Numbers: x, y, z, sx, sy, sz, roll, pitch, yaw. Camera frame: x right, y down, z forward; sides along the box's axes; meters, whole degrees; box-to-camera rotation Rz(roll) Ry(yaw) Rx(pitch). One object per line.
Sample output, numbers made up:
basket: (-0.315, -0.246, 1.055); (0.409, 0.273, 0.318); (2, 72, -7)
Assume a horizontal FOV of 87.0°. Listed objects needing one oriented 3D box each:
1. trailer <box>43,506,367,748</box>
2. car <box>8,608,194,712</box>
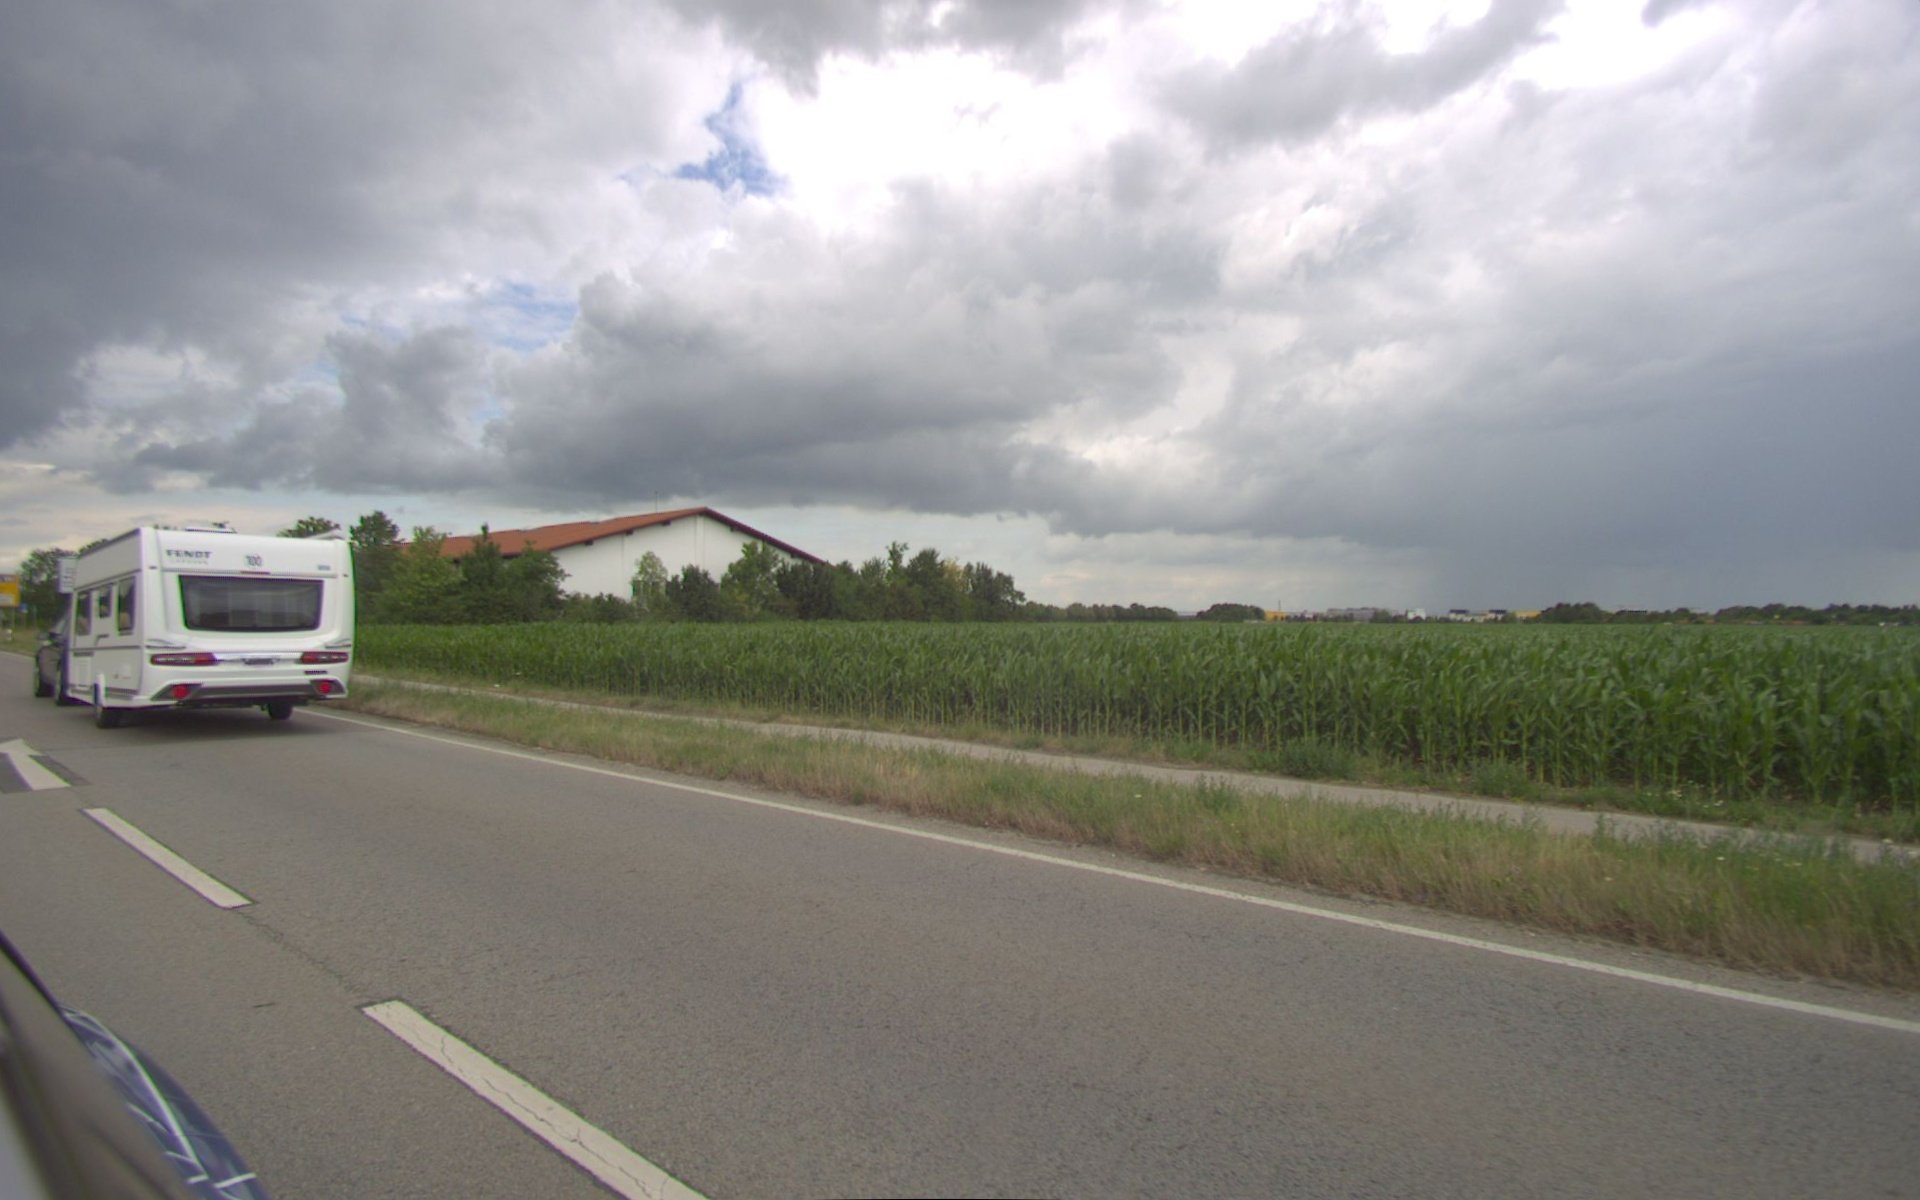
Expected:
trailer: (-11.477, 0.399, 15.016); (7.840, 2.750, 2.299); (-1, -2, 42)
car: (-16.177, 1.061, 18.977); (4.673, 1.712, 1.973); (-1, -2, 41)
